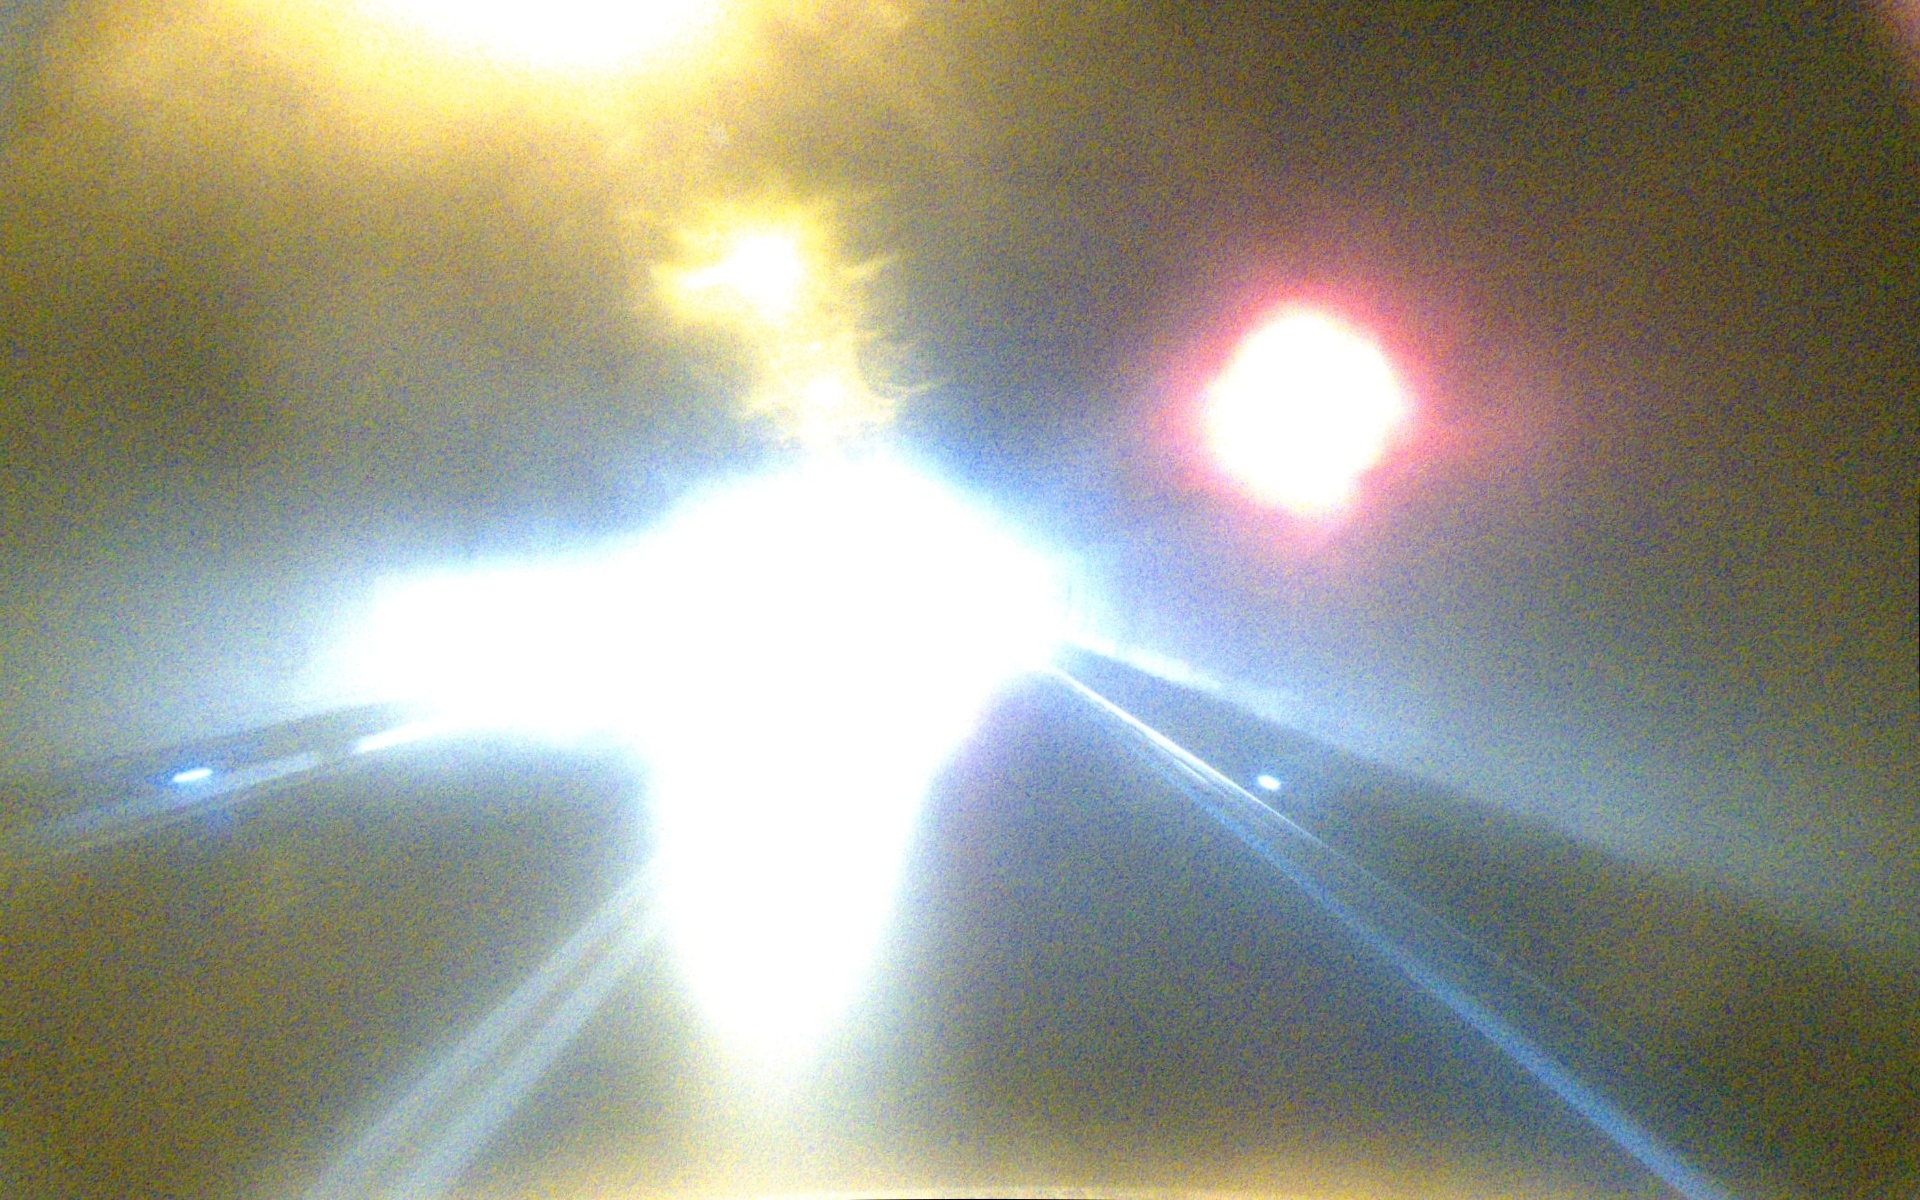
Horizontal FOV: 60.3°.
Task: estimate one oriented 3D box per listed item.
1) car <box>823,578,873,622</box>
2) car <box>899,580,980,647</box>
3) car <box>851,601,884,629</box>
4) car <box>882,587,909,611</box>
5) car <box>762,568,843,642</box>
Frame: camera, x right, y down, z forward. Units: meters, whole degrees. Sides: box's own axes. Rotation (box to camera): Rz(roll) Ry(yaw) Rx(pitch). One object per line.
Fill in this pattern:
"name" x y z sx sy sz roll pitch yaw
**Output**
"car" -4.119 -0.001 61.227 1.666 1.583 3.872 0 0 -1
"car" -0.560 0.325 43.627 2.047 1.691 3.999 0 0 -1
"car" -4.940 0.778 88.679 1.656 1.447 3.624 0 0 -1
"car" -4.938 -0.094 126.930 1.953 1.739 4.279 0 0 -1
"car" -3.910 0.089 41.596 1.635 1.676 3.906 -3 1 -1
